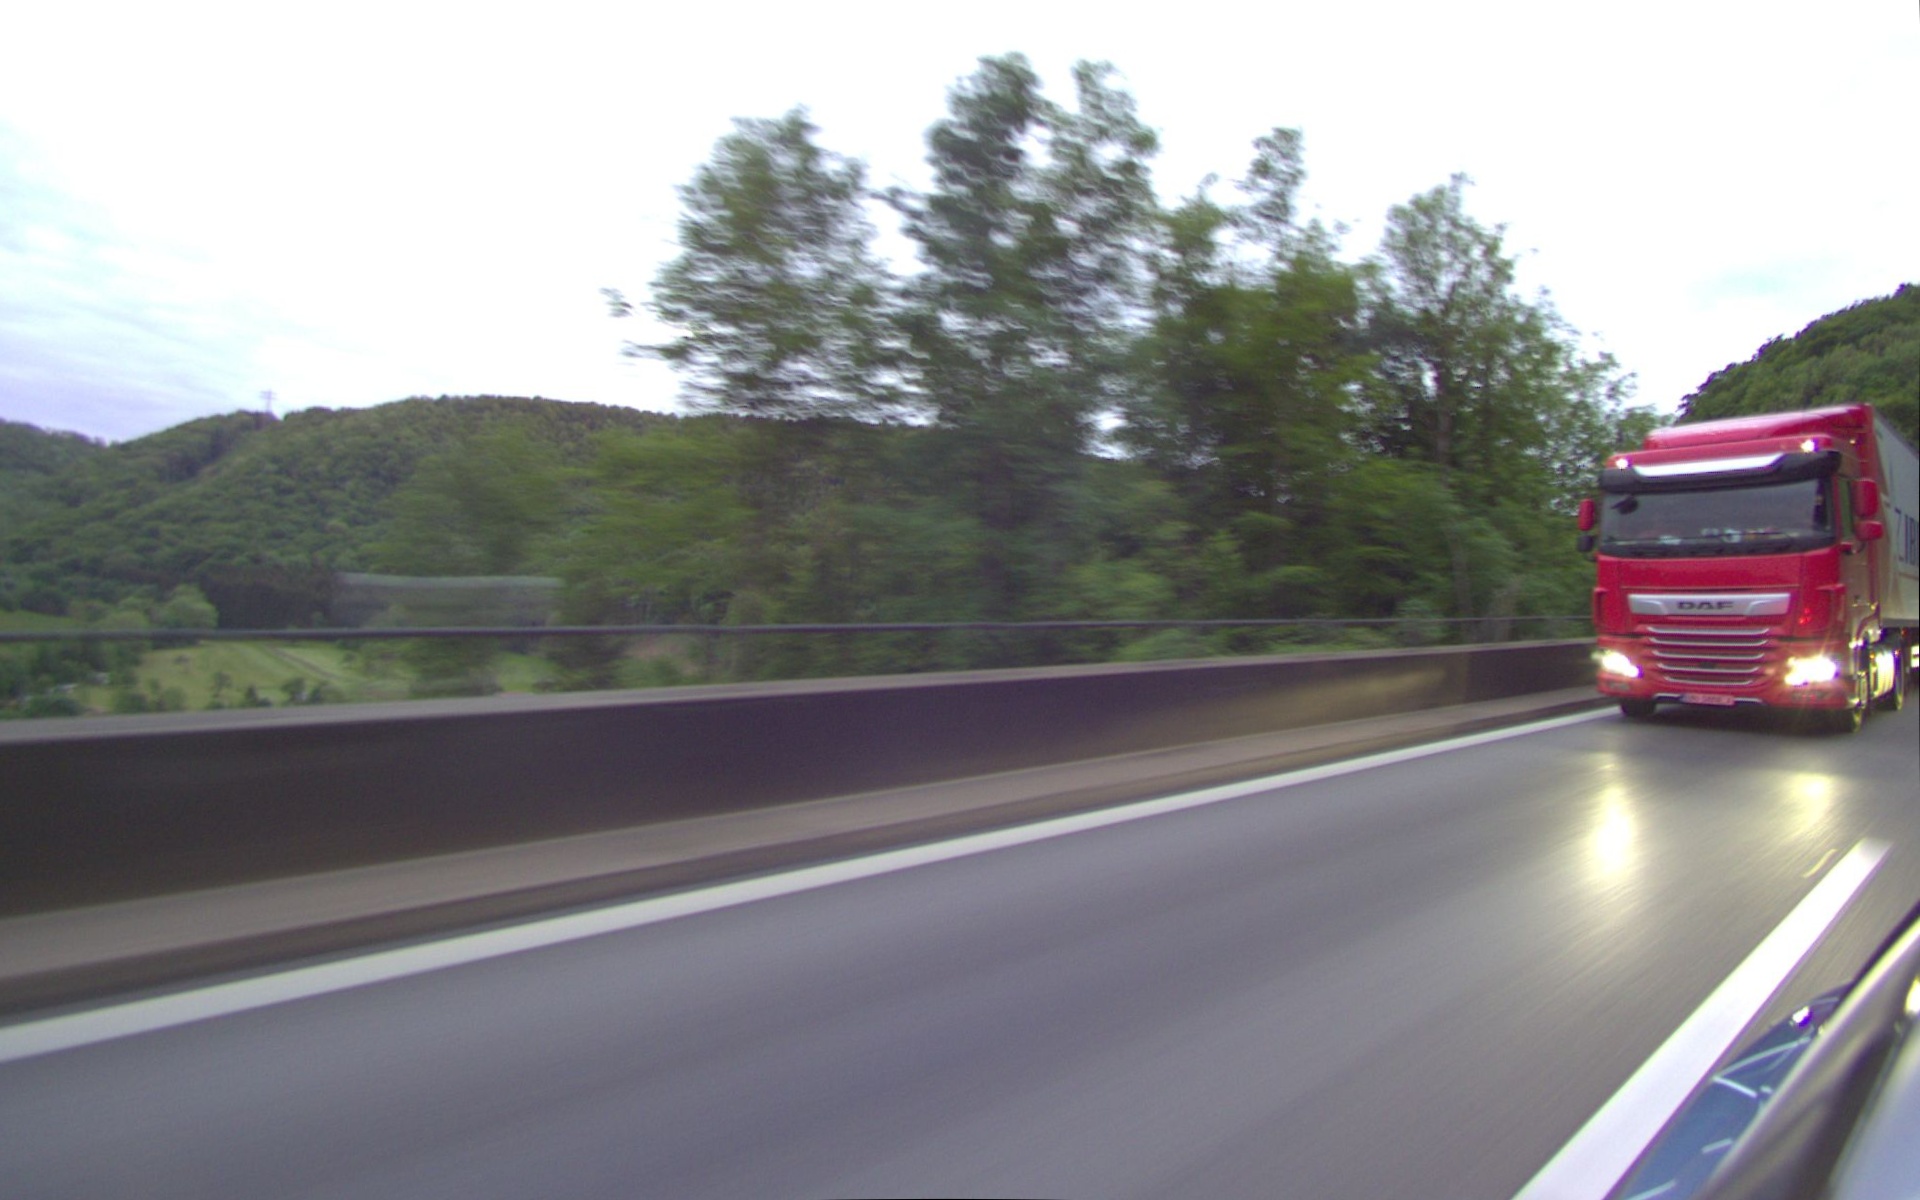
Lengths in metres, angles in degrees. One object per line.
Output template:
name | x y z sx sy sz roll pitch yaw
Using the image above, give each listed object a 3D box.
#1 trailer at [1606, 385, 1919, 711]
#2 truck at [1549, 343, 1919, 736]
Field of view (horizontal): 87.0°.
trailer | 15.731 -0.624 18.260 13.969 4.020 3.102 0 0 -41
truck | 11.098 -0.647 14.053 6.334 4.198 3.074 0 -1 -41
